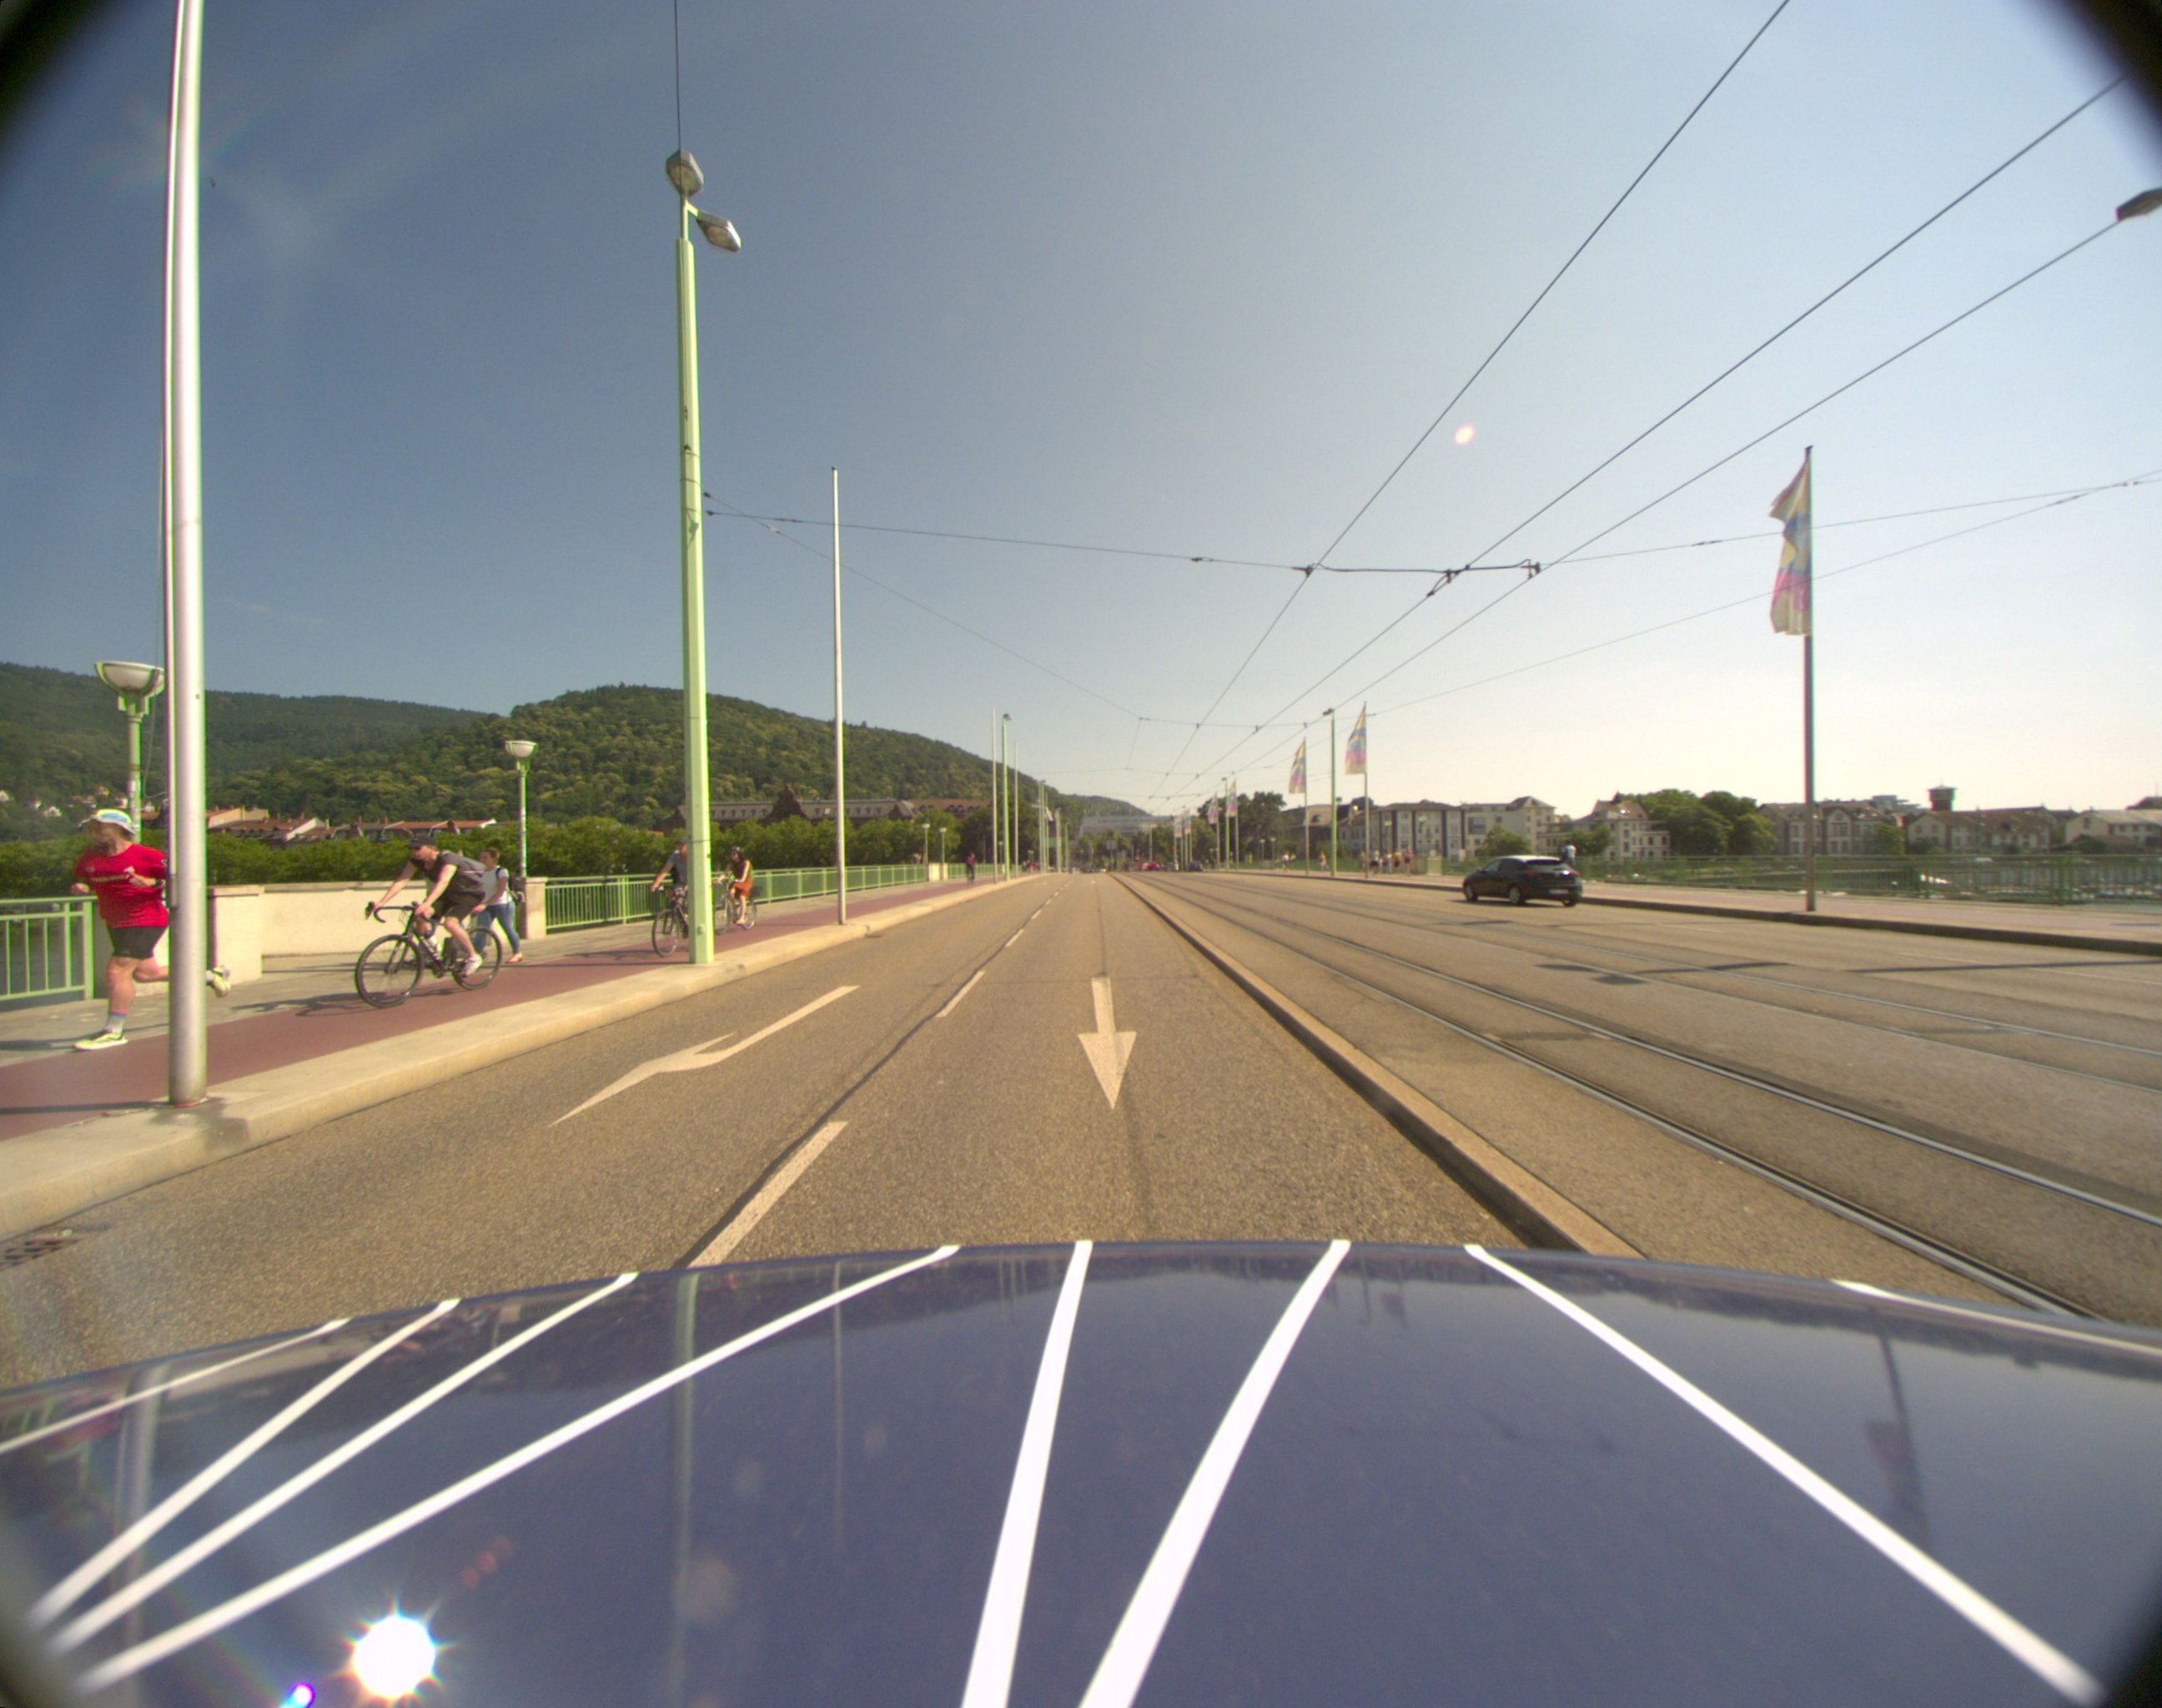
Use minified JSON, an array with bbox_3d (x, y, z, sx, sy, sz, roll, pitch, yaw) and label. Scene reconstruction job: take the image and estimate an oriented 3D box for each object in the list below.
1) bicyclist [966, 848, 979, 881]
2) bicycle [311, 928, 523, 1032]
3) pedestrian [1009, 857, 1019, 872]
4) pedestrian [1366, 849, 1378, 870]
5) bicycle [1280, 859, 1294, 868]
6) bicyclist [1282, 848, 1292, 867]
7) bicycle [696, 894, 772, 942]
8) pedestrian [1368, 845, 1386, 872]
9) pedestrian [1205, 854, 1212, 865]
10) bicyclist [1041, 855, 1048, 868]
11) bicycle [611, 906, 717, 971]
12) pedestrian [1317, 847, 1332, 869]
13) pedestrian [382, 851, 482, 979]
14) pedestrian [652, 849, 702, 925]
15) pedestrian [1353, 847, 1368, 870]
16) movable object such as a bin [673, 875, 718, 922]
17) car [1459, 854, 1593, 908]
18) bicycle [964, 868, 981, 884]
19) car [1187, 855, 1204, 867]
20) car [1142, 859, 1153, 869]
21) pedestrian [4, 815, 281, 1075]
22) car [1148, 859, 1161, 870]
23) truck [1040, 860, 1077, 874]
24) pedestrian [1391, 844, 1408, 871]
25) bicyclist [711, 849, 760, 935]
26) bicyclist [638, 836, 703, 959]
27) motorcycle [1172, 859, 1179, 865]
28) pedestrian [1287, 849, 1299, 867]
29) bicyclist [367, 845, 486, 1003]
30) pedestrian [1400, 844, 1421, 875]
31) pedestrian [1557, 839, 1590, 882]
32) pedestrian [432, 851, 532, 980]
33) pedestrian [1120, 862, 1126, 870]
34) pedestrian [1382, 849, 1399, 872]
[{"bbox_3d":[-5.833,0.537,40.868,0.587,1.759,0.672,0,1,2],"label":"bicyclist"},{"bbox_3d":[-6.682,1.229,7.790,0.595,0.761,1.831,0,0,-1],"label":"bicycle"},{"bbox_3d":[-7.403,1.177,83.660,0.949,1.653,1.082,1,1,1],"label":"pedestrian"},{"bbox_3d":[20.454,0.406,53.412,0.547,1.429,0.789,-3,1,1],"label":"pedestrian"},{"bbox_3d":[17.817,0.838,65.887,0.667,0.712,2.173,-1,0,1],"label":"bicycle"},{"bbox_3d":[17.804,0.270,65.743,0.666,1.641,0.622,-1,1,2],"label":"bicyclist"},{"bbox_3d":[-6.752,1.225,14.894,0.595,0.761,1.866,0,0,1],"label":"bicycle"},{"bbox_3d":[18.778,0.286,48.142,0.671,1.690,1.022,-3,1,1],"label":"pedestrian"},{"bbox_3d":[19.126,0.847,114.020,0.787,1.690,1.022,-3,1,1],"label":"pedestrian"},{"bbox_3d":[-5.036,1.021,104.613,0.731,1.655,0.844,-2,1,2],"label":"bicyclist"},{"bbox_3d":[-6.183,1.228,11.397,0.595,0.761,1.866,0,0,-1],"label":"bicycle"},{"bbox_3d":[19.330,0.314,60.275,0.787,1.690,1.022,-3,1,1],"label":"pedestrian"},{"bbox_3d":[-8.658,0.791,10.170,0.669,1.649,0.746,0,1,1],"label":"pedestrian"},{"bbox_3d":[-9.221,0.740,17.355,0.664,1.696,0.859,0,1,1],"label":"pedestrian"},{"bbox_3d":[19.592,0.306,53.298,0.627,1.590,1.022,-3,1,1],"label":"pedestrian"},{"bbox_3d":[-9.221,1.055,18.210,0.583,1.084,0.933,0,1,0],"label":"movable object such as a bin"},{"bbox_3d":[12.990,0.737,22.466,1.720,1.446,3.901,0,0,1],"label":"car"},{"bbox_3d":[-5.829,1.178,40.883,0.595,0.761,1.866,0,0,1],"label":"bicycle"},{"bbox_3d":[14.473,0.847,96.145,1.672,1.428,4.000,-1,1,2],"label":"car"},{"bbox_3d":[12.212,1.753,139.853,1.814,1.611,4.000,-5,0,2],"label":"car"},{"bbox_3d":[-7.505,0.670,6.161,0.813,1.913,1.127,0,1,1],"label":"pedestrian"},{"bbox_3d":[12.202,1.772,126.440,1.714,1.686,4.000,-5,0,2],"label":"car"},{"bbox_3d":[-5.007,2.856,169.217,7.683,2.248,2.662,-5,0,5],"label":"truck"},{"bbox_3d":[20.396,0.244,48.717,0.592,1.690,1.022,-3,1,1],"label":"pedestrian"},{"bbox_3d":[-6.751,0.721,14.864,0.606,1.641,0.702,0,1,2],"label":"bicyclist"},{"bbox_3d":[-6.181,0.635,11.467,0.588,1.809,0.702,0,1,-1],"label":"bicyclist"},{"bbox_3d":[14.508,1.198,116.267,0.735,0.884,2.145,-5,0,1],"label":"motorcycle"},{"bbox_3d":[20.702,0.414,74.257,0.787,1.690,1.022,-3,1,1],"label":"pedestrian"},{"bbox_3d":[-6.683,0.687,7.791,0.588,1.550,0.702,0,1,-1],"label":"bicyclist"},{"bbox_3d":[18.740,0.308,43.207,0.686,1.681,1.022,-3,1,1],"label":"pedestrian"},{"bbox_3d":[20.051,0.254,30.943,0.592,1.690,1.022,-3,1,1],"label":"pedestrian"},{"bbox_3d":[-7.975,0.789,10.152,0.664,1.649,0.825,0,1,1],"label":"pedestrian"},{"bbox_3d":[11.299,3.182,203.905,1.036,2.002,1.200,-3,2,-19],"label":"pedestrian"},{"bbox_3d":[19.440,0.404,47.784,0.592,1.406,1.022,-3,1,1],"label":"pedestrian"}]
